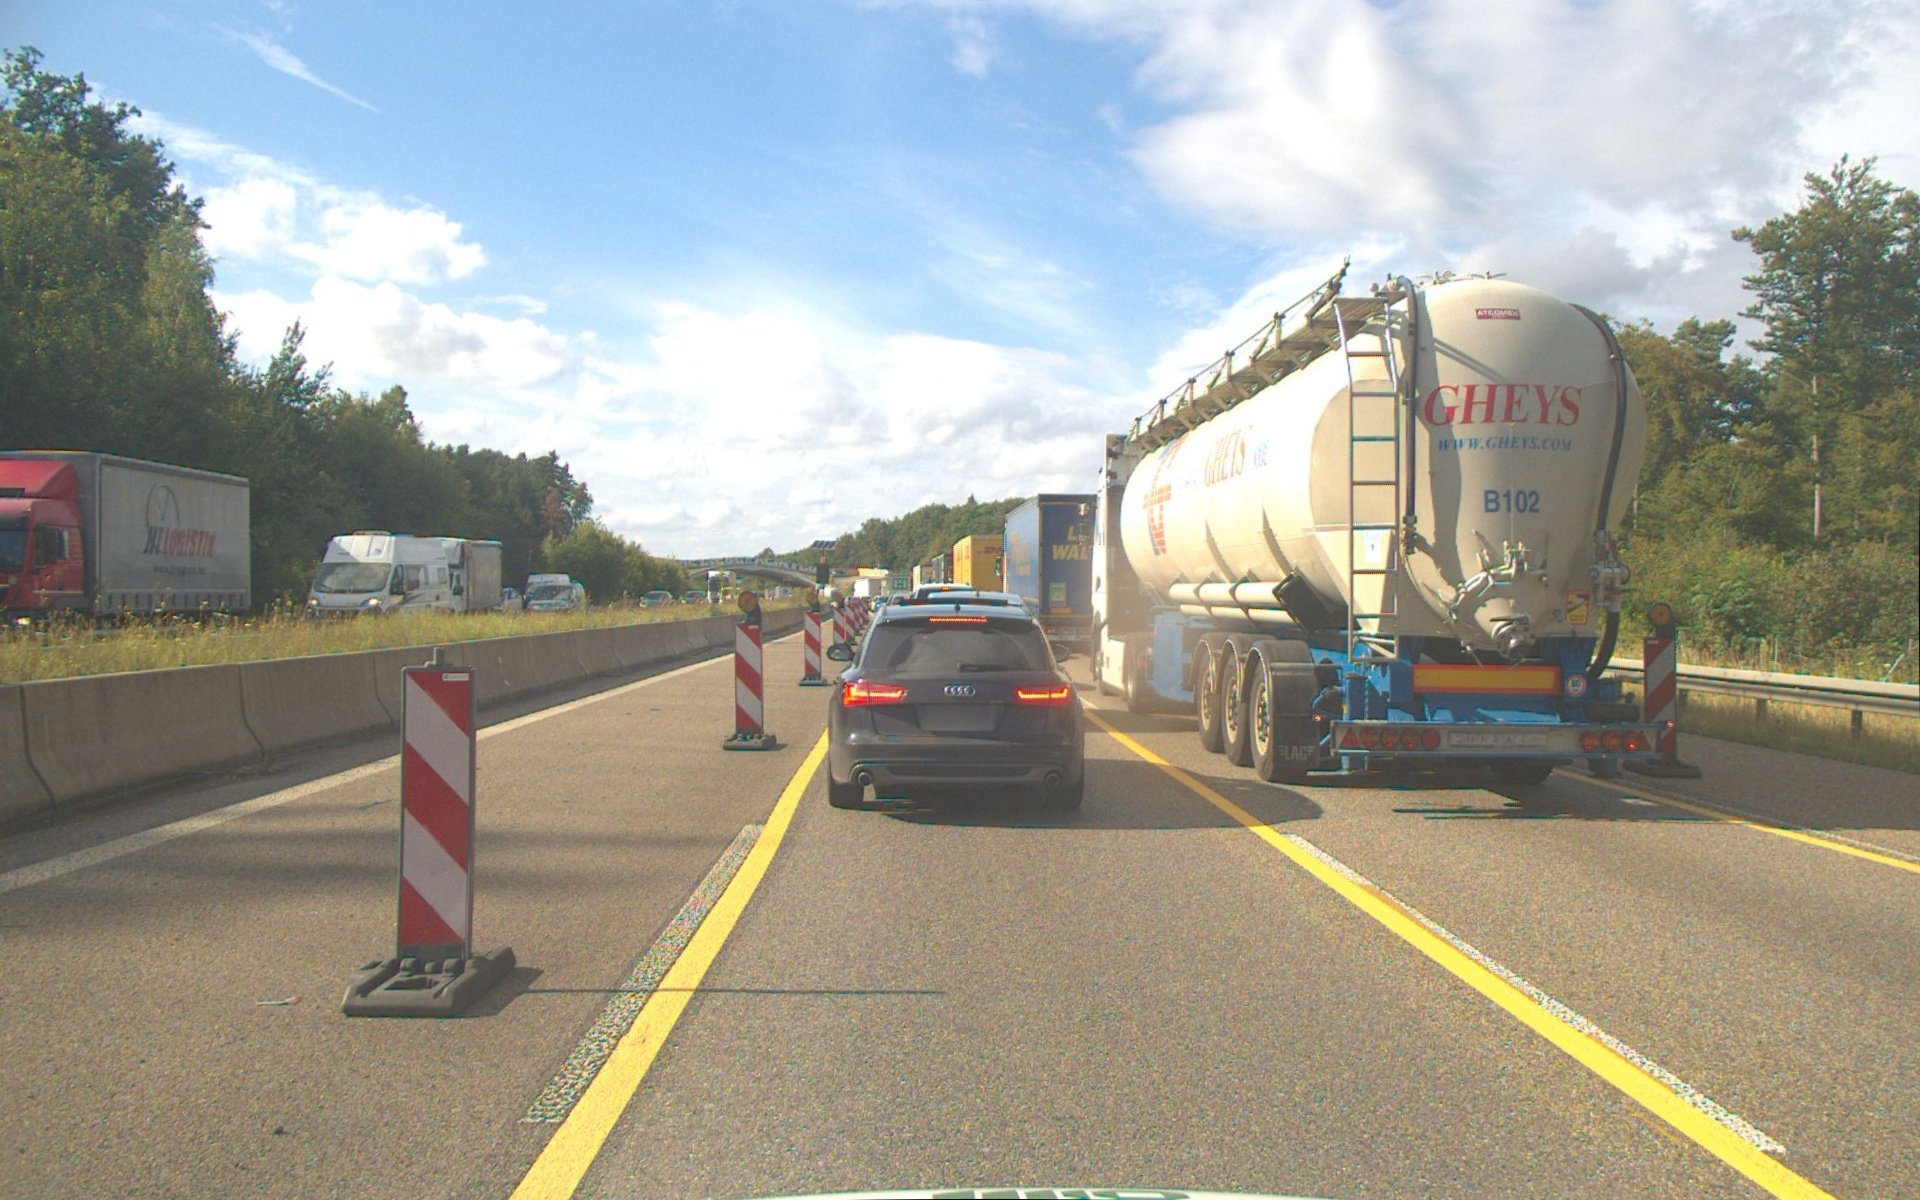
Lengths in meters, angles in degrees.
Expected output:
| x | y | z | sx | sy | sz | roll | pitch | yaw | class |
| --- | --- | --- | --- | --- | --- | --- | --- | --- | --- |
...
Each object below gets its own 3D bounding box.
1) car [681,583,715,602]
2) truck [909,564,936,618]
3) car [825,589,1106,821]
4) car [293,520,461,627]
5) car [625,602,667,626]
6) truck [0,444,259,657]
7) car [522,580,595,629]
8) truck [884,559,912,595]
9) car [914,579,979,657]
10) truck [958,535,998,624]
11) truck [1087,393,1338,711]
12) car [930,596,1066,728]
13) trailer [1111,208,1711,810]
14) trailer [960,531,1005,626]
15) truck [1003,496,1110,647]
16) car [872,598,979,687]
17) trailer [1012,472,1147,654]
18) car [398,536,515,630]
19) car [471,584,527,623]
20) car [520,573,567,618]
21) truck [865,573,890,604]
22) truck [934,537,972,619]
| x | y | z | sx | sy | sz | roll | pitch | yaw | class |
| --- | --- | --- | --- | --- | --- | --- | --- | --- | --- |
| -19.802 | -0.536 | 124.907 | 1.918 | 1.386 | 4.286 | 1 | 0 | -1 | car |
| -3.168 | -0.722 | 139.662 | 2.094 | 4.332 | 7.069 | 1 | 0 | -2 | truck |
| 0.000 | 0.696 | 12.753 | 1.811 | 1.489 | 3.999 | 1 | 0 | -1 | car |
| -14.831 | -0.582 | 42.550 | 2.116 | 2.494 | 6.329 | 1 | -1 | -1 | car |
| -18.766 | 0.842 | 99.107 | 1.743 | 1.411 | 4.309 | 1 | 0 | -1 | car |
| -19.046 | -0.980 | 36.718 | 2.744 | 4.062 | 10.183 | 1 | 0 | -1 | truck |
| -15.842 | 0.172 | 65.400 | 1.905 | 1.844 | 4.118 | 1 | 0 | -1 | car |
| -7.652 | -2.789 | 202.127 | 3.238 | 4.248 | 9.696 | 1 | 0 | -3 | truck |
| -0.370 | 0.443 | 41.914 | 1.549 | 1.869 | 3.111 | 1 | 0 | -1 | car |
| 0.816 | -0.908 | 76.482 | 1.577 | 3.965 | 4.070 | 1 | -1 | -2 | truck |
| 3.476 | -0.600 | 24.185 | 2.605 | 4.041 | 5.777 | 1 | 0 | -1 | truck |
| 0.401 | 0.714 | 20.326 | 1.493 | 1.464 | 3.284 | 1 | 0 | -1 | car |
| 3.631 | -0.609 | 17.476 | 2.590 | 4.012 | 12.594 | 1 | 0 | -1 | trailer |
| 0.944 | -0.880 | 72.786 | 1.584 | 3.987 | 6.486 | 1 | 0 | -2 | trailer |
| 2.994 | -0.832 | 53.409 | 2.749 | 4.446 | 7.789 | 1 | 0 | -1 | truck |
| -0.598 | 0.701 | 28.777 | 1.716 | 1.421 | 3.607 | 1 | 0 | -1 | car |
| 3.154 | -0.889 | 46.584 | 2.748 | 4.490 | 10.429 | 1 | 0 | -1 | trailer |
| -19.557 | -0.608 | 64.663 | 2.437 | 3.429 | 7.449 | 1 | 0 | -2 | car |
| -25.486 | 0.203 | 91.566 | 1.953 | 2.049 | 3.999 | 1 | 0 | -1 | car |
| -25.492 | -0.262 | 101.430 | 2.208 | 2.689 | 5.010 | 1 | 0 | -8 | car |
| -11.629 | -1.570 | 232.548 | 3.239 | 4.248 | 9.694 | 1 | 0 | -4 | truck |
| -0.507 | -1.367 | 106.719 | 1.953 | 5.000 | 9.557 | 1 | 0 | -2 | truck |
